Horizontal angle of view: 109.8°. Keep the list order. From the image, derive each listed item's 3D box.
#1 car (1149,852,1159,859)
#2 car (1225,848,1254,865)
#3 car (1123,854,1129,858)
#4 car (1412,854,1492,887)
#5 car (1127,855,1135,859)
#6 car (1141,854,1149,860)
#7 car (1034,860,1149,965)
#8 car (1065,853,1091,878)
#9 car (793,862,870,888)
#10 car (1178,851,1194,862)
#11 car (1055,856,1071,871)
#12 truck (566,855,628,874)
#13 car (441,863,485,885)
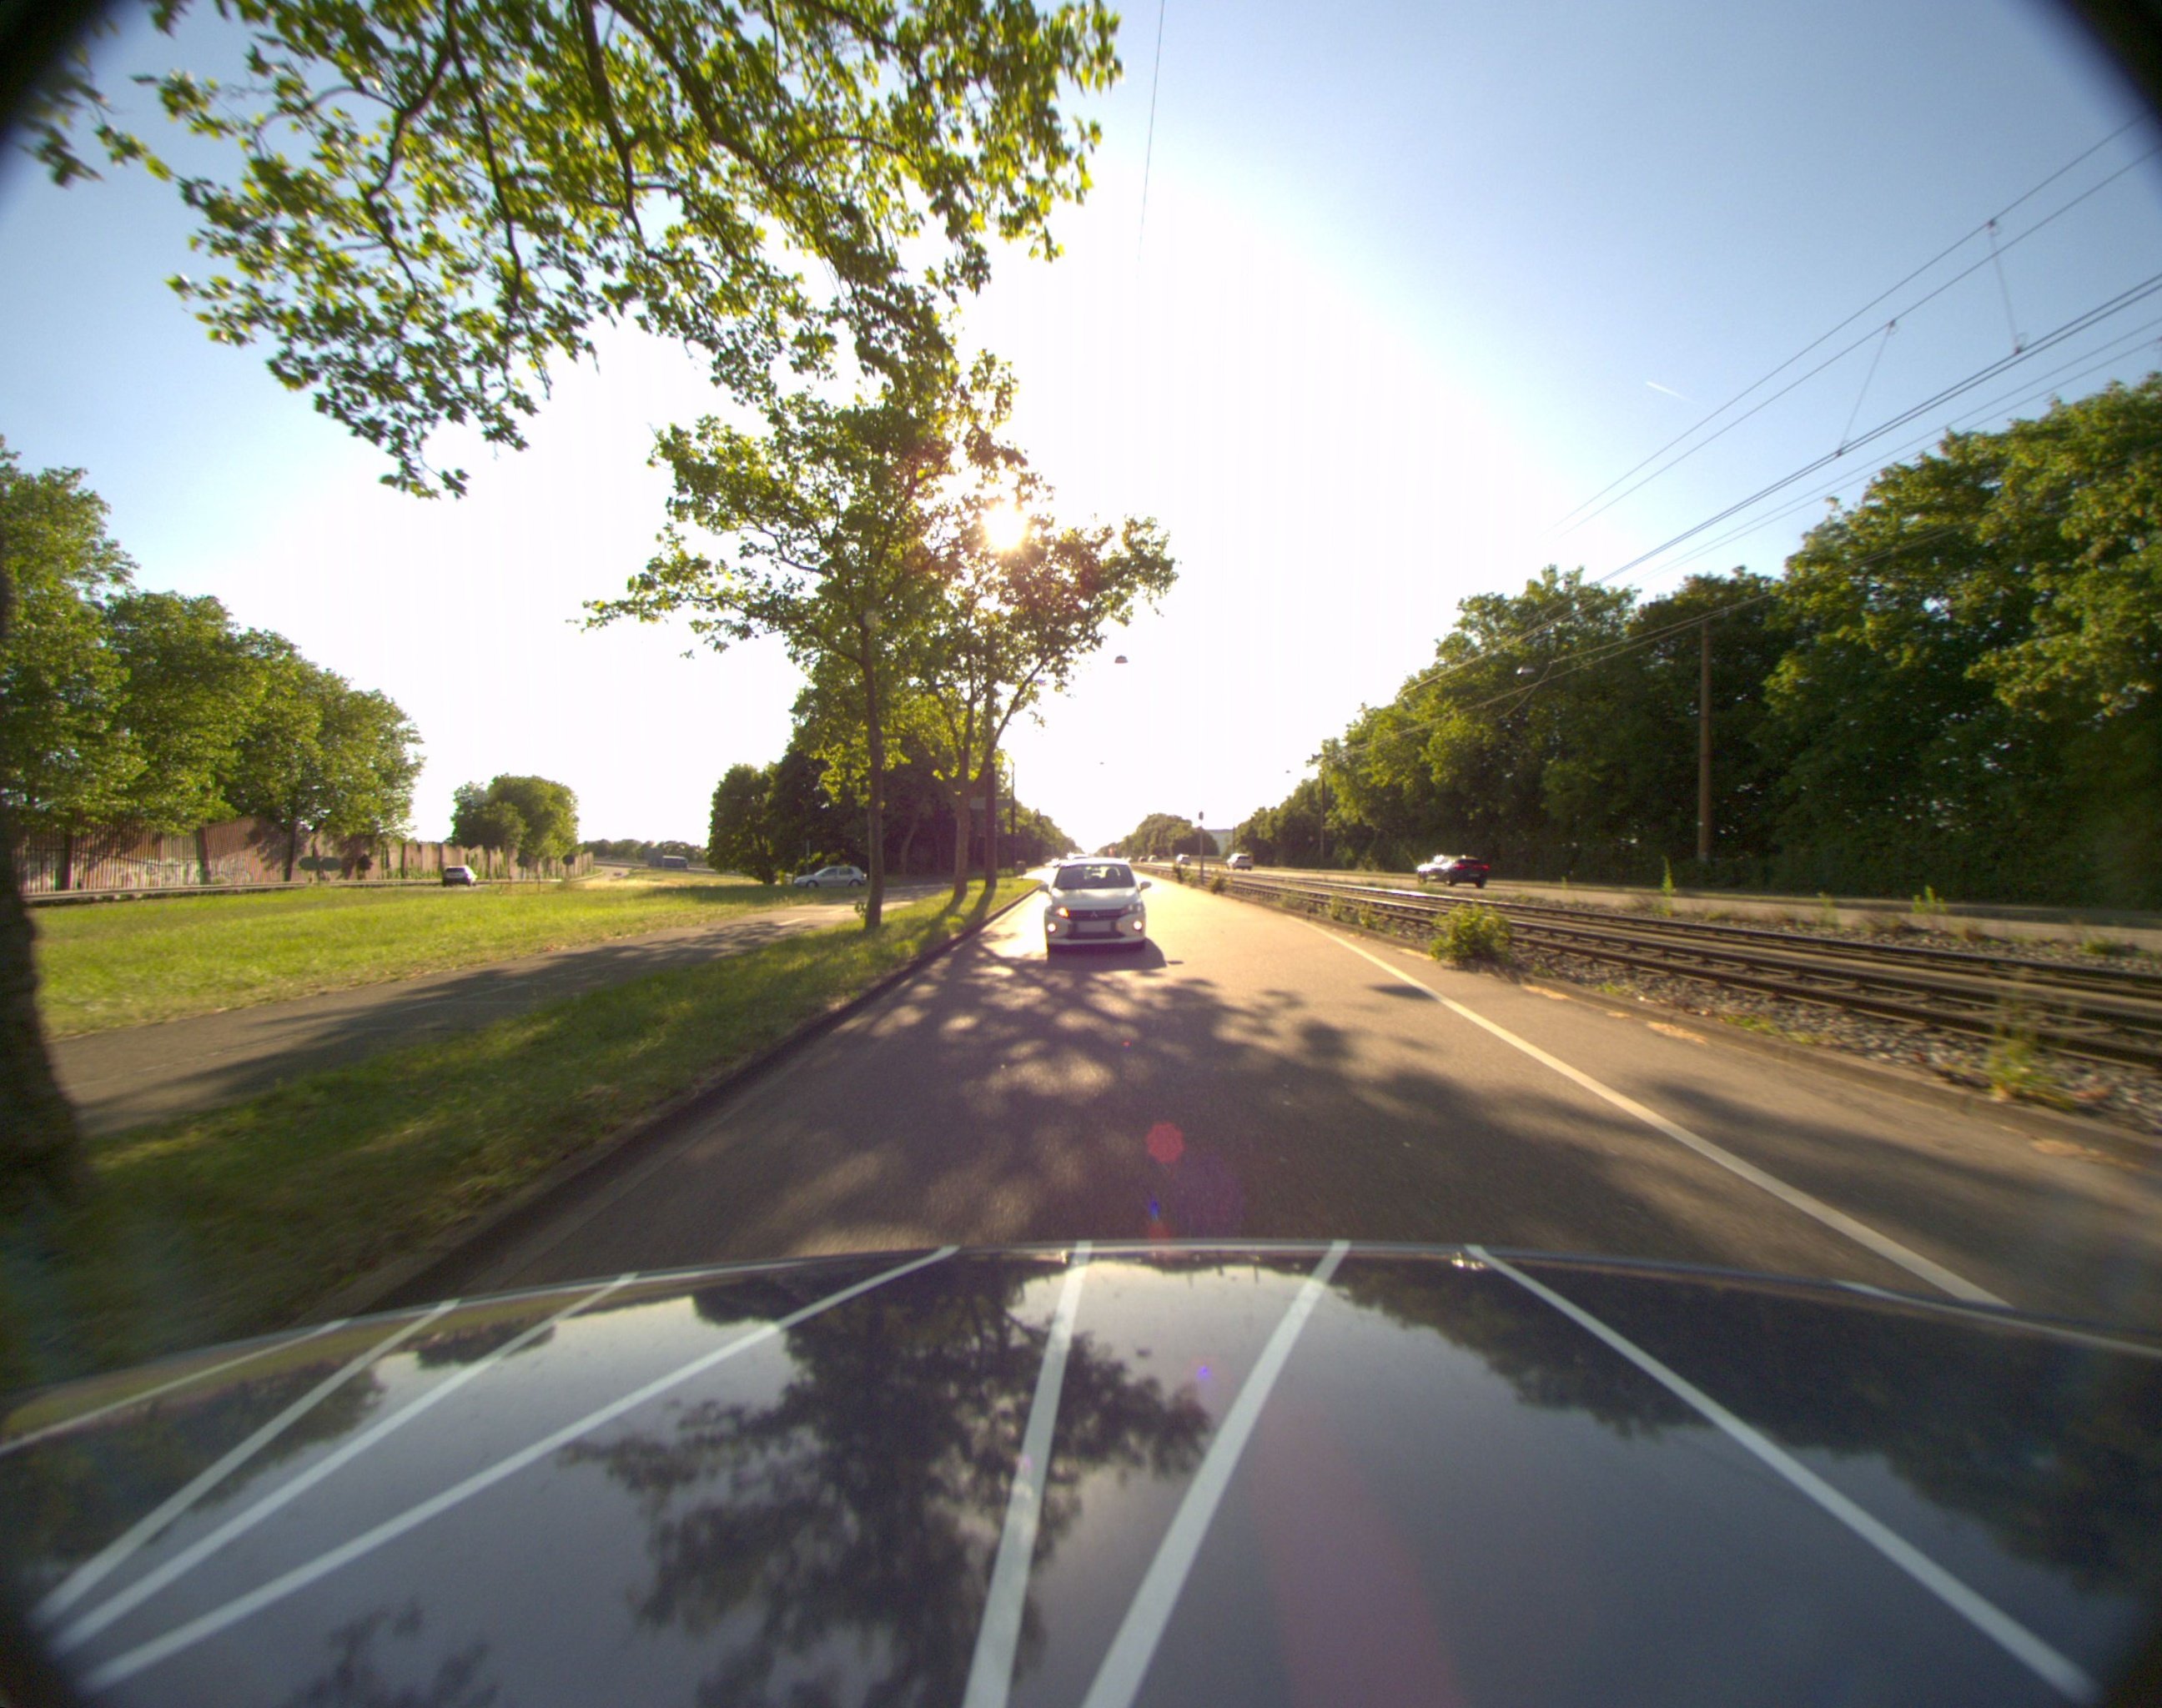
[{"bbox_3d":[16.350,0.320,169.909,1.696,1.547,4.190,2,1,-1],"label":"car"},{"bbox_3d":[17.244,0.275,82.888,1.968,1.697,4.942,2,1,-2],"label":"car"},{"bbox_3d":[15.737,0.666,265.694,1.713,1.571,4.800,0,0,-1],"label":"car"},{"bbox_3d":[18.493,0.789,38.096,1.715,1.459,4.346,2,0,-2],"label":"car"},{"bbox_3d":[15.619,0.942,237.168,1.759,1.406,4.876,2,1,-2],"label":"car"},{"bbox_3d":[16.045,0.850,190.119,1.661,1.424,4.501,2,1,0],"label":"car"},{"bbox_3d":[0.173,0.906,13.450,1.709,1.503,3.862,-1,1,0],"label":"car"},{"bbox_3d":[-0.185,0.747,51.449,1.709,1.512,3.844,-1,1,0],"label":"car"},{"bbox_3d":[-15.132,1.256,46.155,4.141,1.409,1.690,-2,1,-30],"label":"car"},{"bbox_3d":[17.405,0.365,126.141,1.851,1.724,4.930,2,1,-2],"label":"car"},{"bbox_3d":[-2.369,1.209,99.426,1.886,1.789,3.644,-1,0,-2],"label":"car"},{"bbox_3d":[-102.160,2.306,160.546,10.628,3.474,2.645,4,-1,-28],"label":"truck"},{"bbox_3d":[-51.554,1.634,63.451,1.817,1.762,3.854,-2,1,-24],"label":"car"}]
